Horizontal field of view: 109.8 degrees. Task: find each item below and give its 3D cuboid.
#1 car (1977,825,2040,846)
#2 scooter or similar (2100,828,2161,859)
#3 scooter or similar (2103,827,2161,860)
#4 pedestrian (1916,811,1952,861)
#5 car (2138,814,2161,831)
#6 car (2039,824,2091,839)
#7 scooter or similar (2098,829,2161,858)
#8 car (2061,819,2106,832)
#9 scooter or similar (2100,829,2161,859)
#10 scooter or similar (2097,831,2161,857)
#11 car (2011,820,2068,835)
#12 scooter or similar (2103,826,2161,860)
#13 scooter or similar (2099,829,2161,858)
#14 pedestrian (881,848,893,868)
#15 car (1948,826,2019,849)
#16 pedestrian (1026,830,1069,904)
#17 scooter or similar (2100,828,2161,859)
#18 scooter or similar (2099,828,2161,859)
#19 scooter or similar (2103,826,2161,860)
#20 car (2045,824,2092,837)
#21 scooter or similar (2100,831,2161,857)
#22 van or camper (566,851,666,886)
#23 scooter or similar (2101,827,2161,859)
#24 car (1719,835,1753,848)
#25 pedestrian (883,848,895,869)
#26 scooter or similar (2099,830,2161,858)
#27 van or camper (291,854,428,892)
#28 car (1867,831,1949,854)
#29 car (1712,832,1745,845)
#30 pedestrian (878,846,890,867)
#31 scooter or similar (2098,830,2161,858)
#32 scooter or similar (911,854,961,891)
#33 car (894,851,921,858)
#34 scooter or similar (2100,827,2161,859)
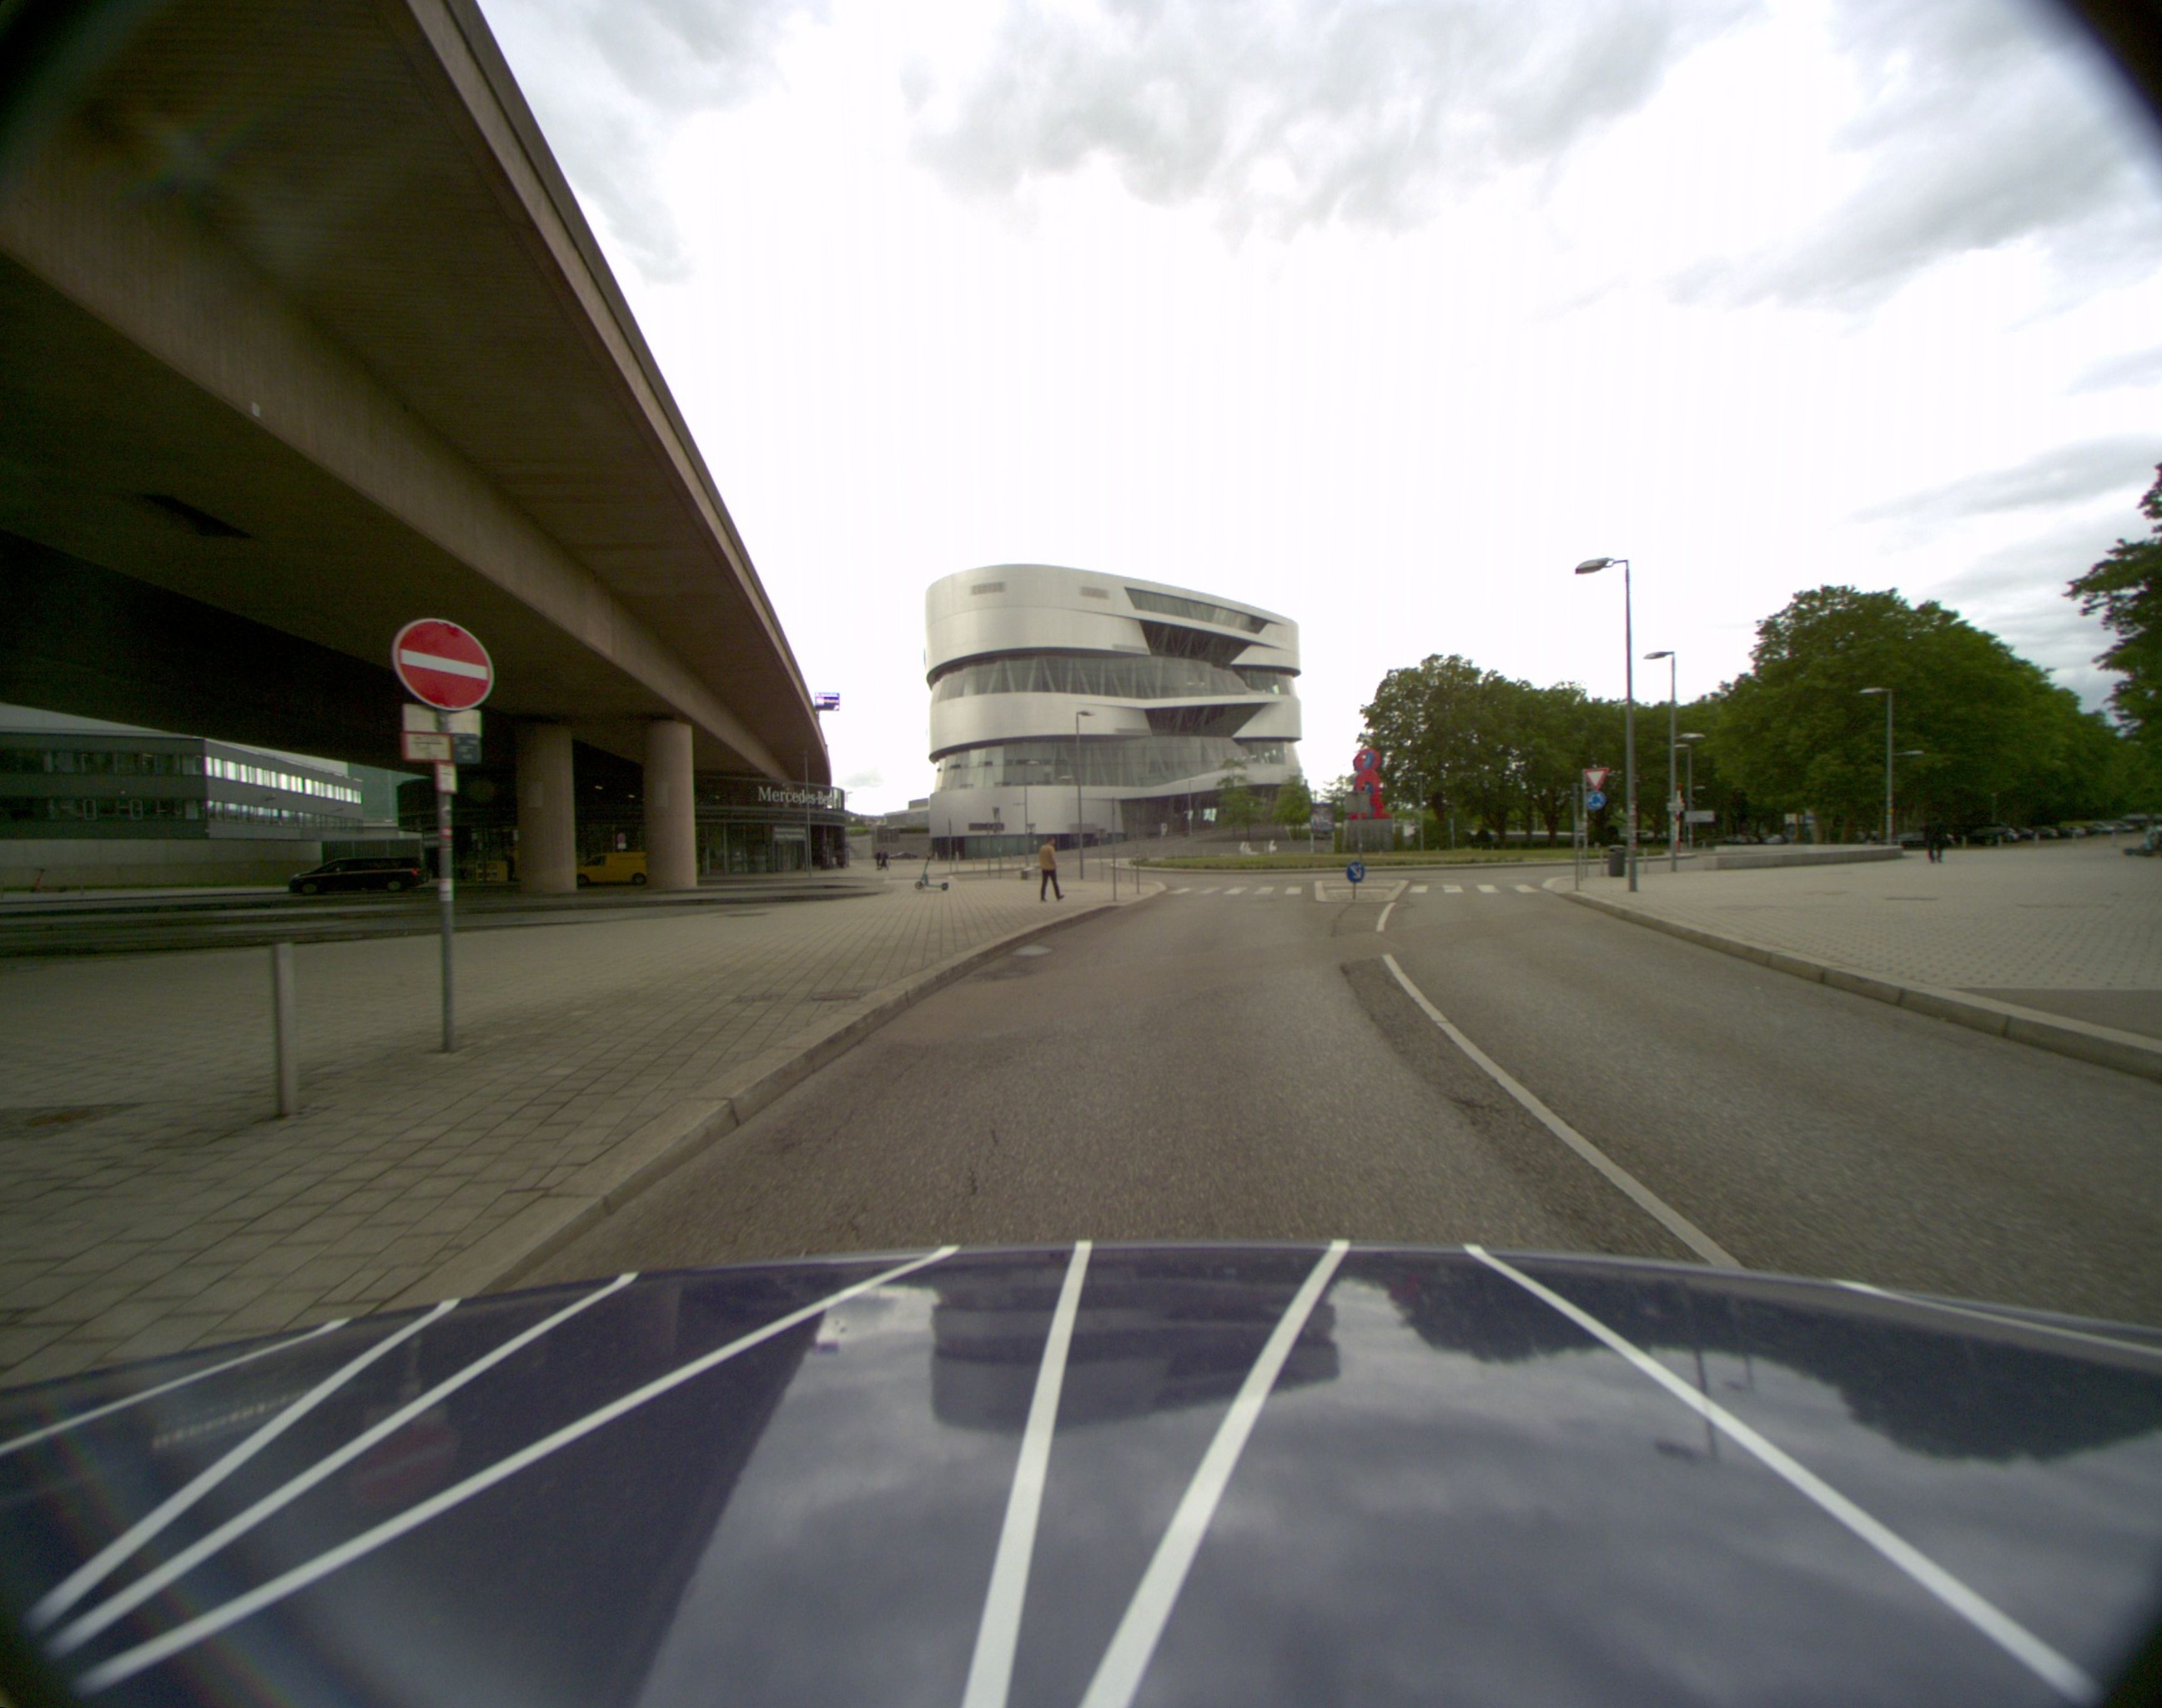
[{"bbox_3d":[87.339,-1.733,71.602,1.674,1.767,3.702,-1,-1,-40],"label":"car"},{"bbox_3d":[39.719,-0.391,28.374,0.641,1.102,1.970,-1,-1,-37],"label":"scooter or similar"},{"bbox_3d":[36.799,-0.370,26.121,0.641,1.102,1.970,-1,-1,-37],"label":"scooter or similar"},{"bbox_3d":[31.849,-0.659,28.369,0.867,1.797,0.791,-1,0,-35],"label":"pedestrian"},{"bbox_3d":[109.519,-3.252,75.995,1.800,1.642,4.425,-1,-1,-37],"label":"car"},{"bbox_3d":[138.644,-3.191,107.090,1.800,1.865,4.425,-1,-1,-37],"label":"car"},{"bbox_3d":[41.735,-0.406,29.925,0.641,1.102,1.970,-1,-1,-37],"label":"scooter or similar"},{"bbox_3d":[169.310,-4.786,128.368,1.800,1.805,4.425,-1,-1,-40],"label":"car"},{"bbox_3d":[41.063,-0.394,29.389,0.641,1.102,1.970,-1,-1,-37],"label":"scooter or similar"},{"bbox_3d":[45.694,-0.423,32.926,0.641,1.102,1.970,-1,-1,-37],"label":"scooter or similar"},{"bbox_3d":[121.976,-3.324,96.742,1.800,1.723,4.425,0,-1,-40],"label":"car"},{"bbox_3d":[35.482,-0.364,25.125,0.641,1.102,1.970,-1,-1,-37],"label":"scooter or similar"},{"bbox_3d":[42.285,-0.404,30.323,0.641,1.102,1.970,-1,-1,-37],"label":"scooter or similar"},{"bbox_3d":[-16.588,0.354,64.954,0.774,1.695,0.785,-1,0,-29],"label":"pedestrian"},{"bbox_3d":[76.294,-1.390,64.285,1.673,1.767,3.703,-1,-1,-33],"label":"car"},{"bbox_3d":[-0.928,0.369,21.140,0.783,2.001,1.041,-1,0,23],"label":"pedestrian"},{"bbox_3d":[40.370,-0.394,28.856,0.641,1.102,1.970,-1,-1,-37],"label":"scooter or similar"},{"bbox_3d":[39.087,-0.385,27.932,0.641,1.102,1.970,-1,-1,-37],"label":"scooter or similar"},{"bbox_3d":[36.160,-0.363,25.630,0.641,1.102,1.970,-1,-1,-37],"label":"scooter or similar"},{"bbox_3d":[154.524,-3.642,118.938,1.800,1.865,4.425,-1,-1,-37],"label":"car"},{"bbox_3d":[47.127,-0.437,33.896,0.641,1.102,1.970,-1,-1,-37],"label":"scooter or similar"},{"bbox_3d":[-27.727,0.822,45.489,4.507,1.988,2.359,-1,1,-14],"label":"van or camper"},{"bbox_3d":[37.977,-0.377,27.053,0.641,1.102,1.970,-1,-1,-37],"label":"scooter or similar"},{"bbox_3d":[98.640,-1.846,114.424,1.690,1.838,3.443,-2,1,-26],"label":"car"},{"bbox_3d":[-16.235,0.375,64.178,0.774,1.695,0.863,-1,0,-30],"label":"pedestrian"},{"bbox_3d":[42.833,-0.405,30.728,0.641,1.102,1.970,-1,-1,-37],"label":"scooter or similar"},{"bbox_3d":[-38.263,0.967,40.505,4.910,1.881,2.149,0,-1,-32],"label":"van or camper"},{"bbox_3d":[60.359,-0.808,55.503,1.783,1.515,3.816,-1,-1,-36],"label":"car"},{"bbox_3d":[95.304,-2.277,111.864,1.691,1.675,3.441,-2,1,-37],"label":"car"},{"bbox_3d":[-17.059,0.191,65.682,0.784,1.787,0.863,-1,0,-29],"label":"pedestrian"},{"bbox_3d":[44.551,-0.417,32.029,0.641,1.102,1.970,-1,-1,-37],"label":"scooter or similar"},{"bbox_3d":[-5.143,0.660,26.983,1.647,1.288,0.519,-1,0,5],"label":"scooter or similar"},{"bbox_3d":[-33.444,0.113,146.786,4.912,1.390,1.533,-1,-1,-20],"label":"car"},{"bbox_3d":[38.530,-0.390,27.489,0.641,1.102,1.970,-1,-1,-37],"label":"scooter or similar"}]
